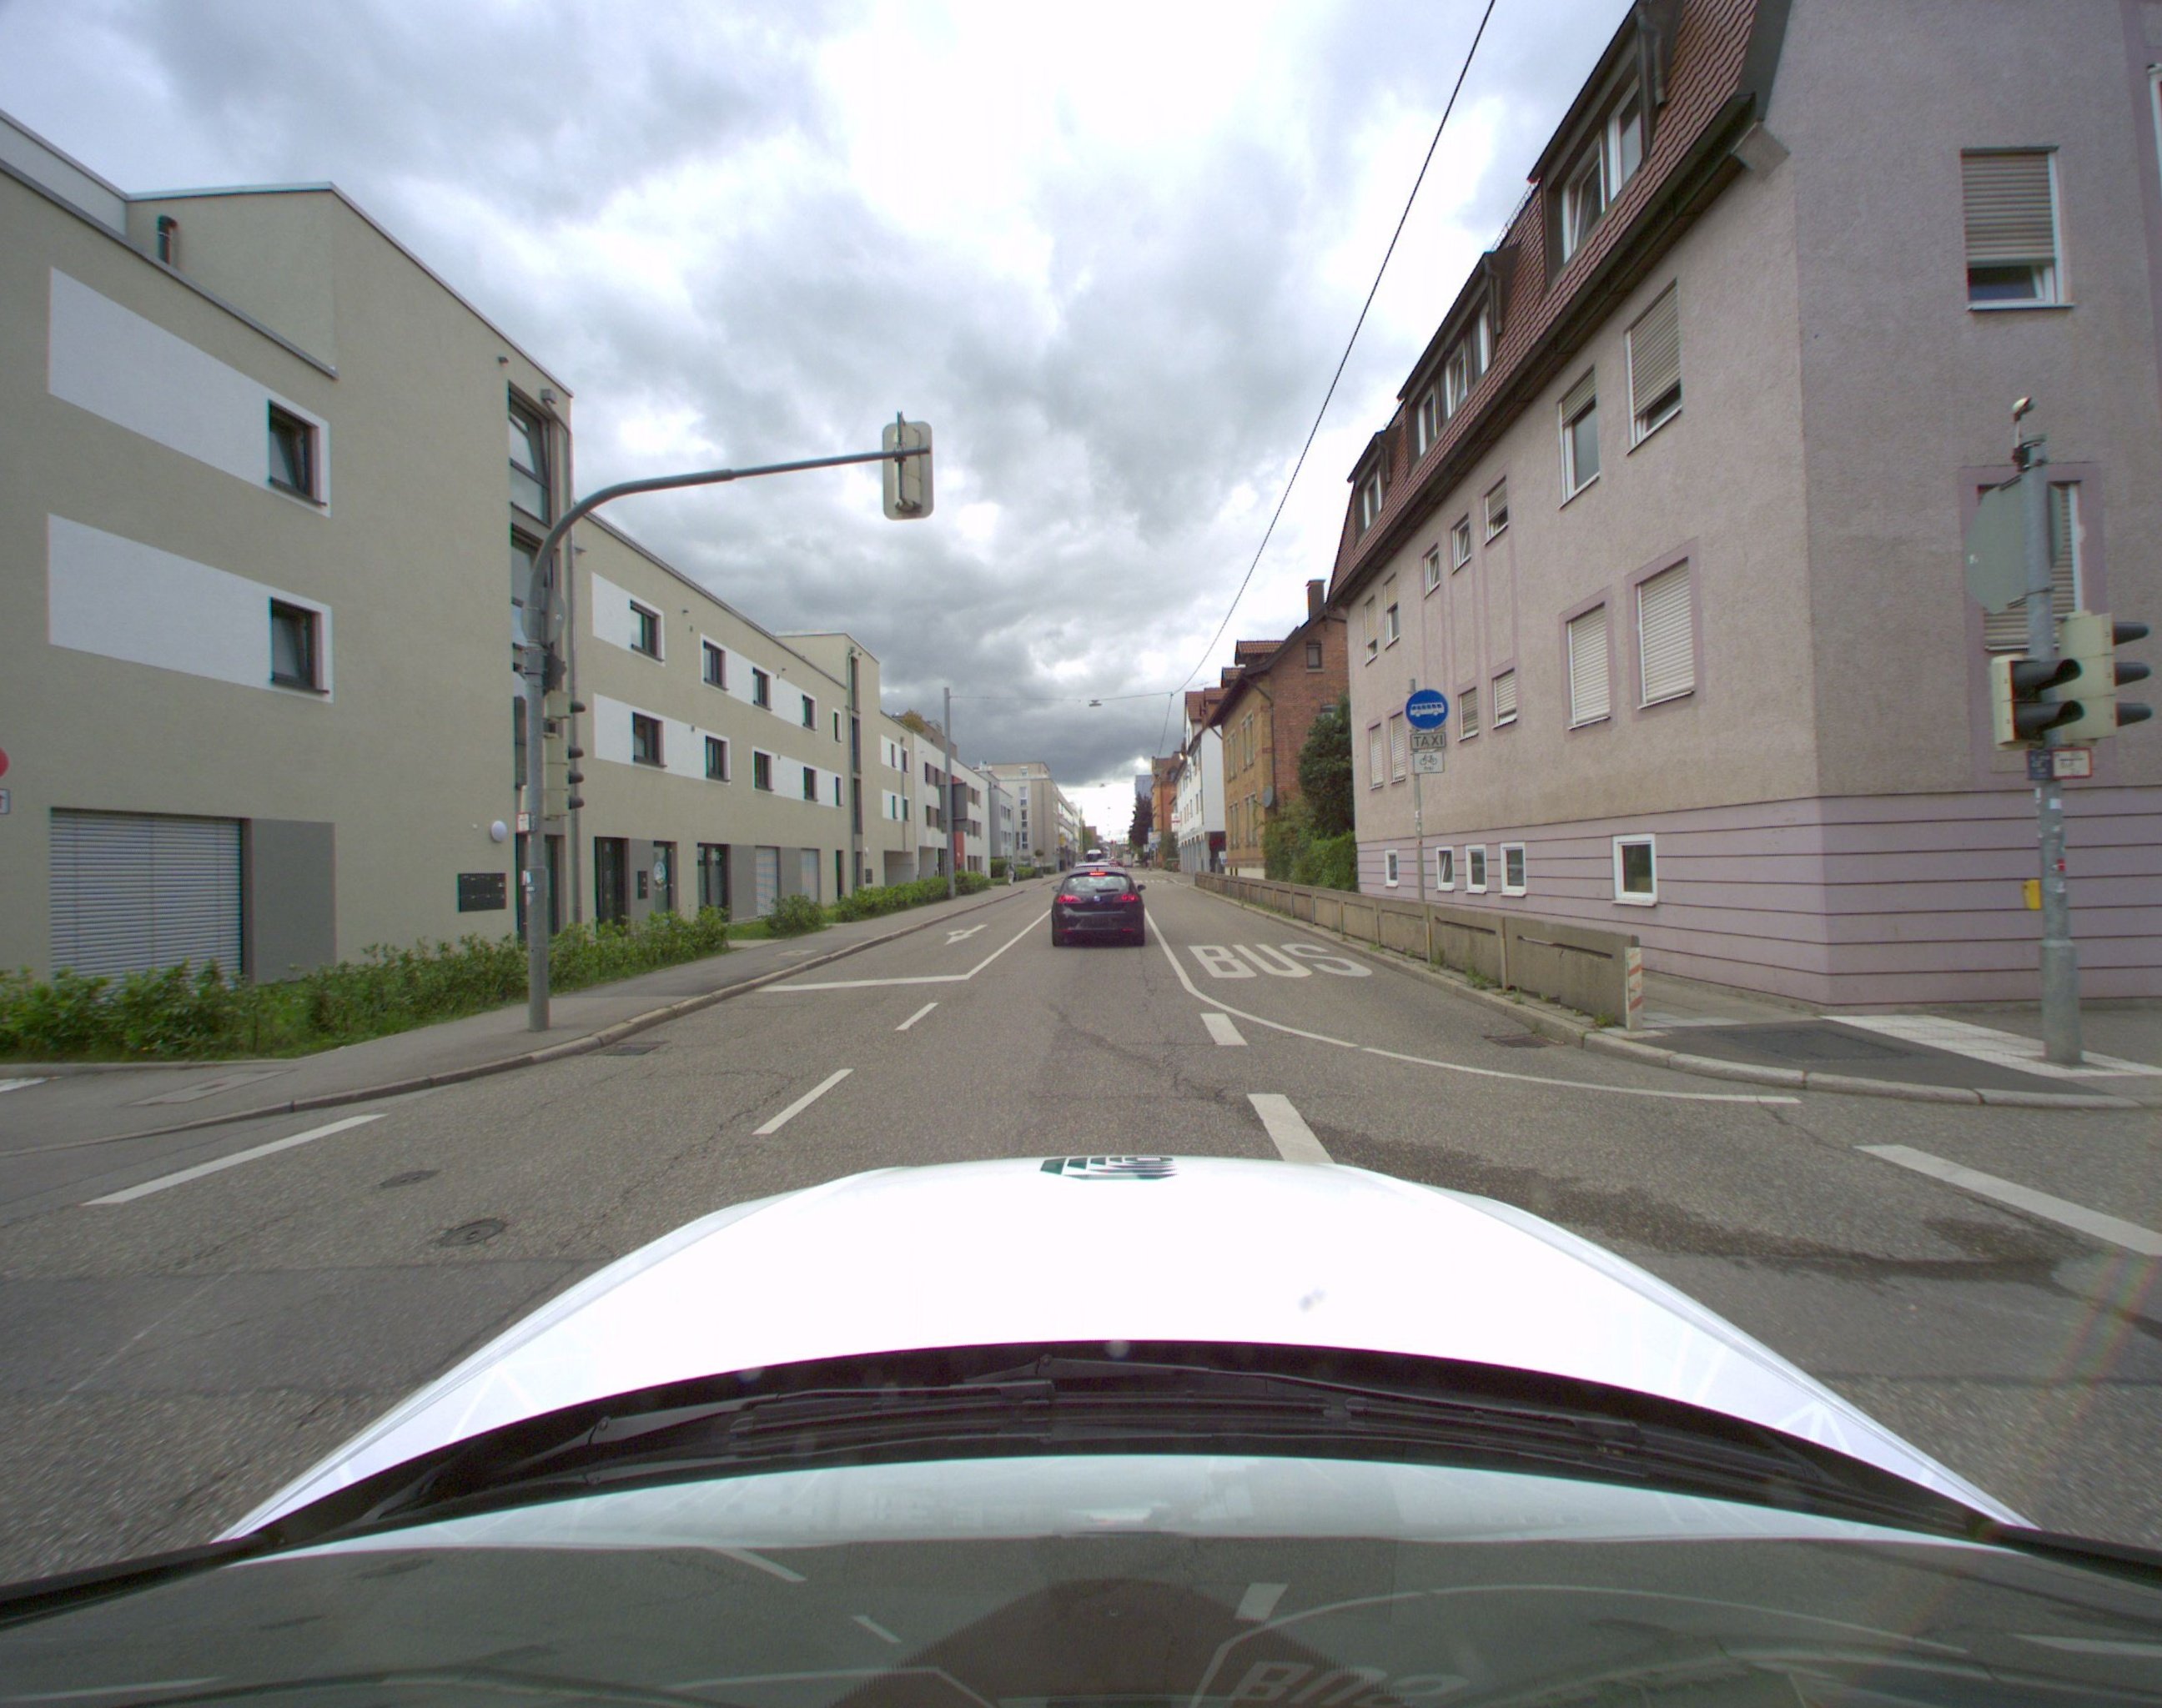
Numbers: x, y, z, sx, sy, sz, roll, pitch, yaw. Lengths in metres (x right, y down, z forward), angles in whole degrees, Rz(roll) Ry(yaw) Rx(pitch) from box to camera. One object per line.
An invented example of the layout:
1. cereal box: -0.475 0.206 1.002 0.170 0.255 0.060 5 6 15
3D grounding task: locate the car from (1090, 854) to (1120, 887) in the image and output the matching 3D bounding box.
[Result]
1. car: 1.305 0.882 43.801 1.525 1.693 3.694 -1 -1 2

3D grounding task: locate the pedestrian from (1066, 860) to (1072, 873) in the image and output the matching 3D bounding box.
1. pedestrian: -1.595 1.741 110.439 0.728 1.729 0.860 -1 -1 1

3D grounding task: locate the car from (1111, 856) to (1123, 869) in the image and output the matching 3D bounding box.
1. car: 4.909 1.186 111.318 1.525 1.693 3.694 -1 -1 2

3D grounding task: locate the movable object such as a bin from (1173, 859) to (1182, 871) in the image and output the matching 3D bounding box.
1. movable object such as a bin: 10.162 1.189 85.904 0.924 1.283 0.883 -1 -1 3

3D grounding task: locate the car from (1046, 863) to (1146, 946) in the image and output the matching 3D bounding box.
1. car: 0.343 0.918 16.357 1.752 1.442 4.002 -1 -1 2

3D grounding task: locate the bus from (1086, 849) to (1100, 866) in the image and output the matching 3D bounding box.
1. bus: 2.212 0.581 144.416 2.201 2.886 8.924 -1 -1 2

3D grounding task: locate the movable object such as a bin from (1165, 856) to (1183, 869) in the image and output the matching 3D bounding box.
1. movable object such as a bin: 10.300 0.948 90.276 1.810 1.437 1.994 -1 -1 3

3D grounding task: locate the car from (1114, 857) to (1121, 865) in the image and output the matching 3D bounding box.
1. car: 7.998 1.436 179.258 1.525 1.693 3.695 -2 0 2

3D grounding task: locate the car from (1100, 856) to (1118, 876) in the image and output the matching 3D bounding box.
1. car: 2.538 1.099 73.830 1.525 1.693 3.694 -1 -1 2

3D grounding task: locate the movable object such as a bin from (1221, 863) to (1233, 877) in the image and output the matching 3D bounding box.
1. movable object such as a bin: 8.522 0.934 47.515 0.590 0.840 0.458 -1 -1 2

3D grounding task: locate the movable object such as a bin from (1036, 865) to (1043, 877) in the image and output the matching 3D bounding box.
1. movable object such as a bin: -3.737 1.532 73.699 0.547 1.078 0.612 -1 -1 3

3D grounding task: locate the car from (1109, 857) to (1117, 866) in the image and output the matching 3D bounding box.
1. car: 5.972 1.384 152.648 1.525 1.693 3.695 -2 0 2

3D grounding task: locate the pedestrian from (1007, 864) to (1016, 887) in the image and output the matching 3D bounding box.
1. pedestrian: -4.565 1.407 53.591 0.524 1.548 0.541 -1 -1 2

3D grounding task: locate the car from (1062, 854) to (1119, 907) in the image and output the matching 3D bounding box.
1. car: 0.378 0.896 28.430 1.835 1.693 4.002 -1 -1 2
